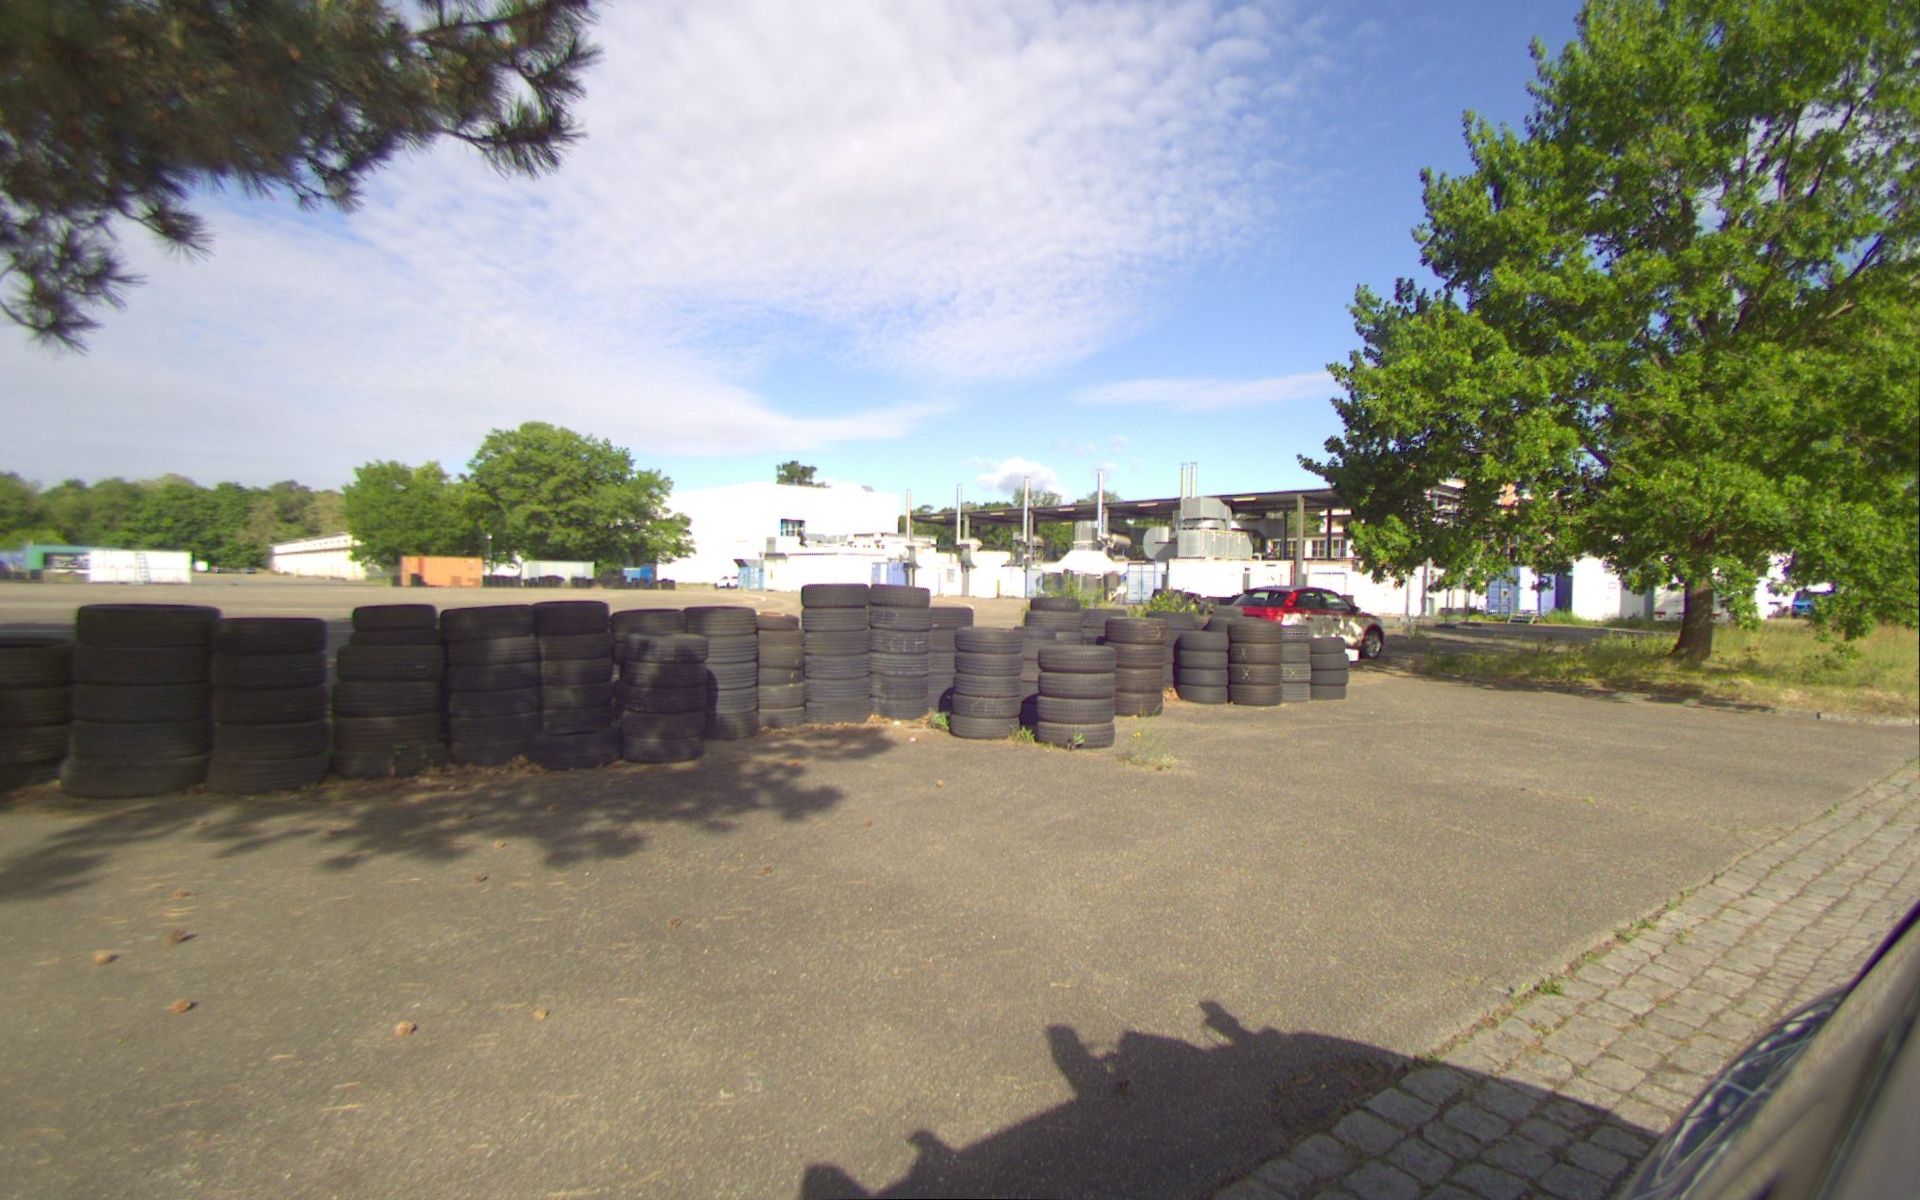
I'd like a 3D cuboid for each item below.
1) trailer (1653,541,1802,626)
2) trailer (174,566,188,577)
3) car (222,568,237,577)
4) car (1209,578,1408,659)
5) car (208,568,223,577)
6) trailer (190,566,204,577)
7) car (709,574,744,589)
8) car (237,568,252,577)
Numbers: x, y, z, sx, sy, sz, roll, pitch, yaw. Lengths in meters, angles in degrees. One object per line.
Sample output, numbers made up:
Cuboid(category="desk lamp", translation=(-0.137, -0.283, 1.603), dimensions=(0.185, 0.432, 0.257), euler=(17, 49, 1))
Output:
Cuboid(category="trailer", translation=(34.841, -0.704, 45.769), dimensions=(9.719, 3.514, 2.925), euler=(0, 1, -38))
Cuboid(category="trailer", translation=(-152.334, -5.629, 197.878), dimensions=(1.965, 2.039, 3.994), euler=(0, 1, -41))
Cuboid(category="car", translation=(-144.844, -5.410, 200.560), dimensions=(2.003, 1.831, 3.993), euler=(0, 1, -42))
Cuboid(category="car", translation=(7.129, 0.341, 20.614), dimensions=(3.921, 1.482, 1.729), euler=(0, 1, -32))
Cuboid(category="car", translation=(-146.434, -5.374, 198.971), dimensions=(1.966, 1.772, 3.993), euler=(0, 1, -42))
Cuboid(category="trailer", translation=(-149.631, -5.548, 198.413), dimensions=(2.028, 2.039, 3.995), euler=(0, 1, -40))
Cuboid(category="car", translation=(-25.531, -2.013, 110.710), dimensions=(1.843, 1.584, 4.540), euler=(0, 1, -41))
Cuboid(category="car", translation=(-142.932, -5.508, 202.176), dimensions=(1.966, 1.772, 3.993), euler=(0, 1, -42))
